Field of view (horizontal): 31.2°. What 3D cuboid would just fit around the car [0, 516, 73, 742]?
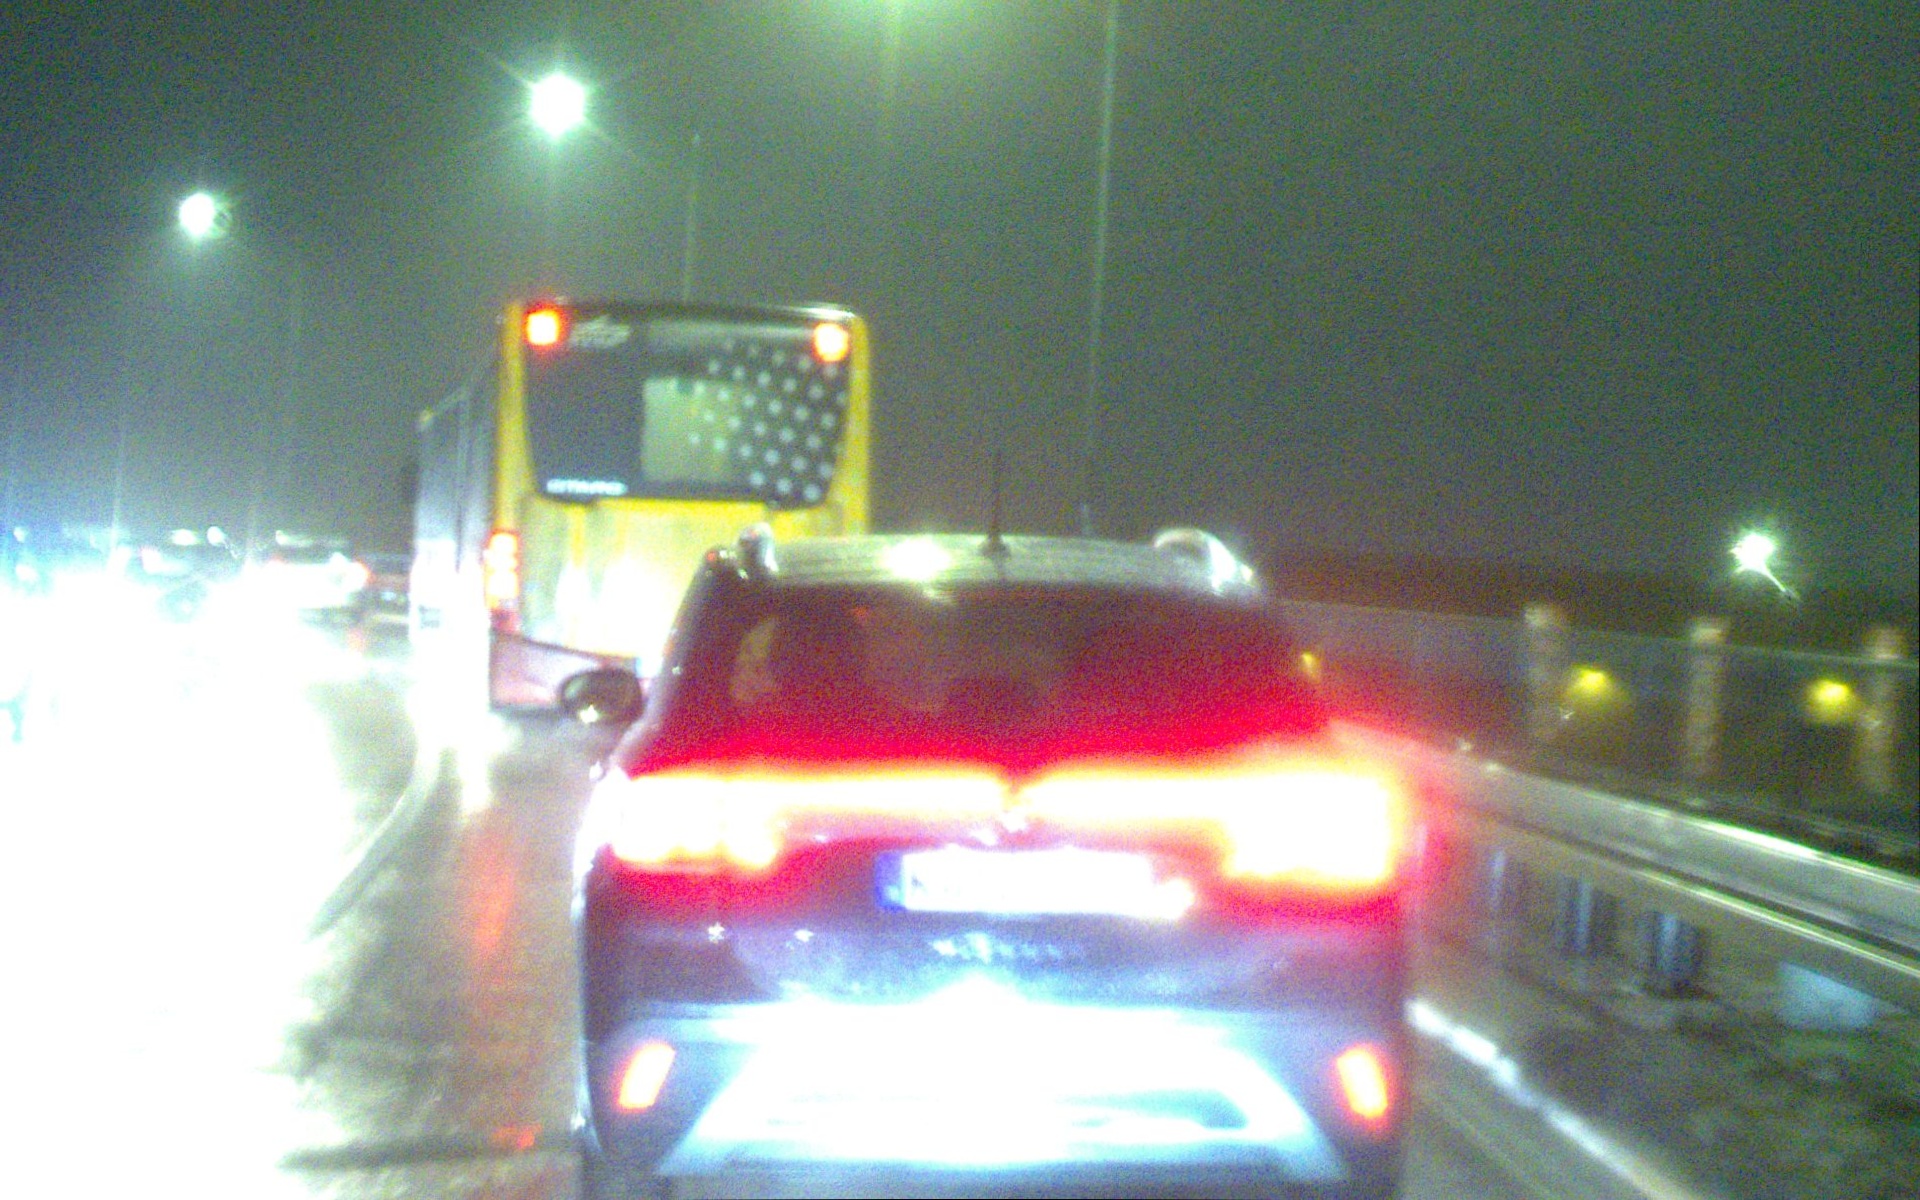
[{"bbox_3d":[-7.703,0.162,26.273,1.470,1.579,3.192,1,2,-9],"label":"car"}]

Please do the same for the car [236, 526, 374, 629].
[{"bbox_3d":[-11.111,-0.388,58.177,1.636,1.650,3.711,-2,1,-21],"label":"car"}]

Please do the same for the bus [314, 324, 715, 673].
[{"bbox_3d":[-5.211,-1.084,38.667,3.048,3.121,8.081,8,-1,-15],"label":"bus"}]

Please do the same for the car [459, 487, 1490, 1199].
[{"bbox_3d":[-0.108,0.605,8.357,1.855,1.581,4.001,3,0,-4],"label":"car"}]

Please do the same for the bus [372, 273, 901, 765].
[{"bbox_3d":[-3.146,-0.684,28.546,3.082,3.122,12.701,1,1,-11],"label":"bus"}]

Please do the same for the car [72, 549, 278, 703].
[{"bbox_3d":[-8.009,0.227,35.375,1.895,1.434,4.064,1,1,-11],"label":"car"}]

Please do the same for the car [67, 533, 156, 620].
[{"bbox_3d":[-17.992,-0.513,72.846,1.306,1.653,3.193,8,-2,-20],"label":"car"}]

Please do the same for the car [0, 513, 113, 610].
[{"bbox_3d":[-14.147,-0.608,53.710,1.682,1.386,4.452,2,0,-13],"label":"car"}]
